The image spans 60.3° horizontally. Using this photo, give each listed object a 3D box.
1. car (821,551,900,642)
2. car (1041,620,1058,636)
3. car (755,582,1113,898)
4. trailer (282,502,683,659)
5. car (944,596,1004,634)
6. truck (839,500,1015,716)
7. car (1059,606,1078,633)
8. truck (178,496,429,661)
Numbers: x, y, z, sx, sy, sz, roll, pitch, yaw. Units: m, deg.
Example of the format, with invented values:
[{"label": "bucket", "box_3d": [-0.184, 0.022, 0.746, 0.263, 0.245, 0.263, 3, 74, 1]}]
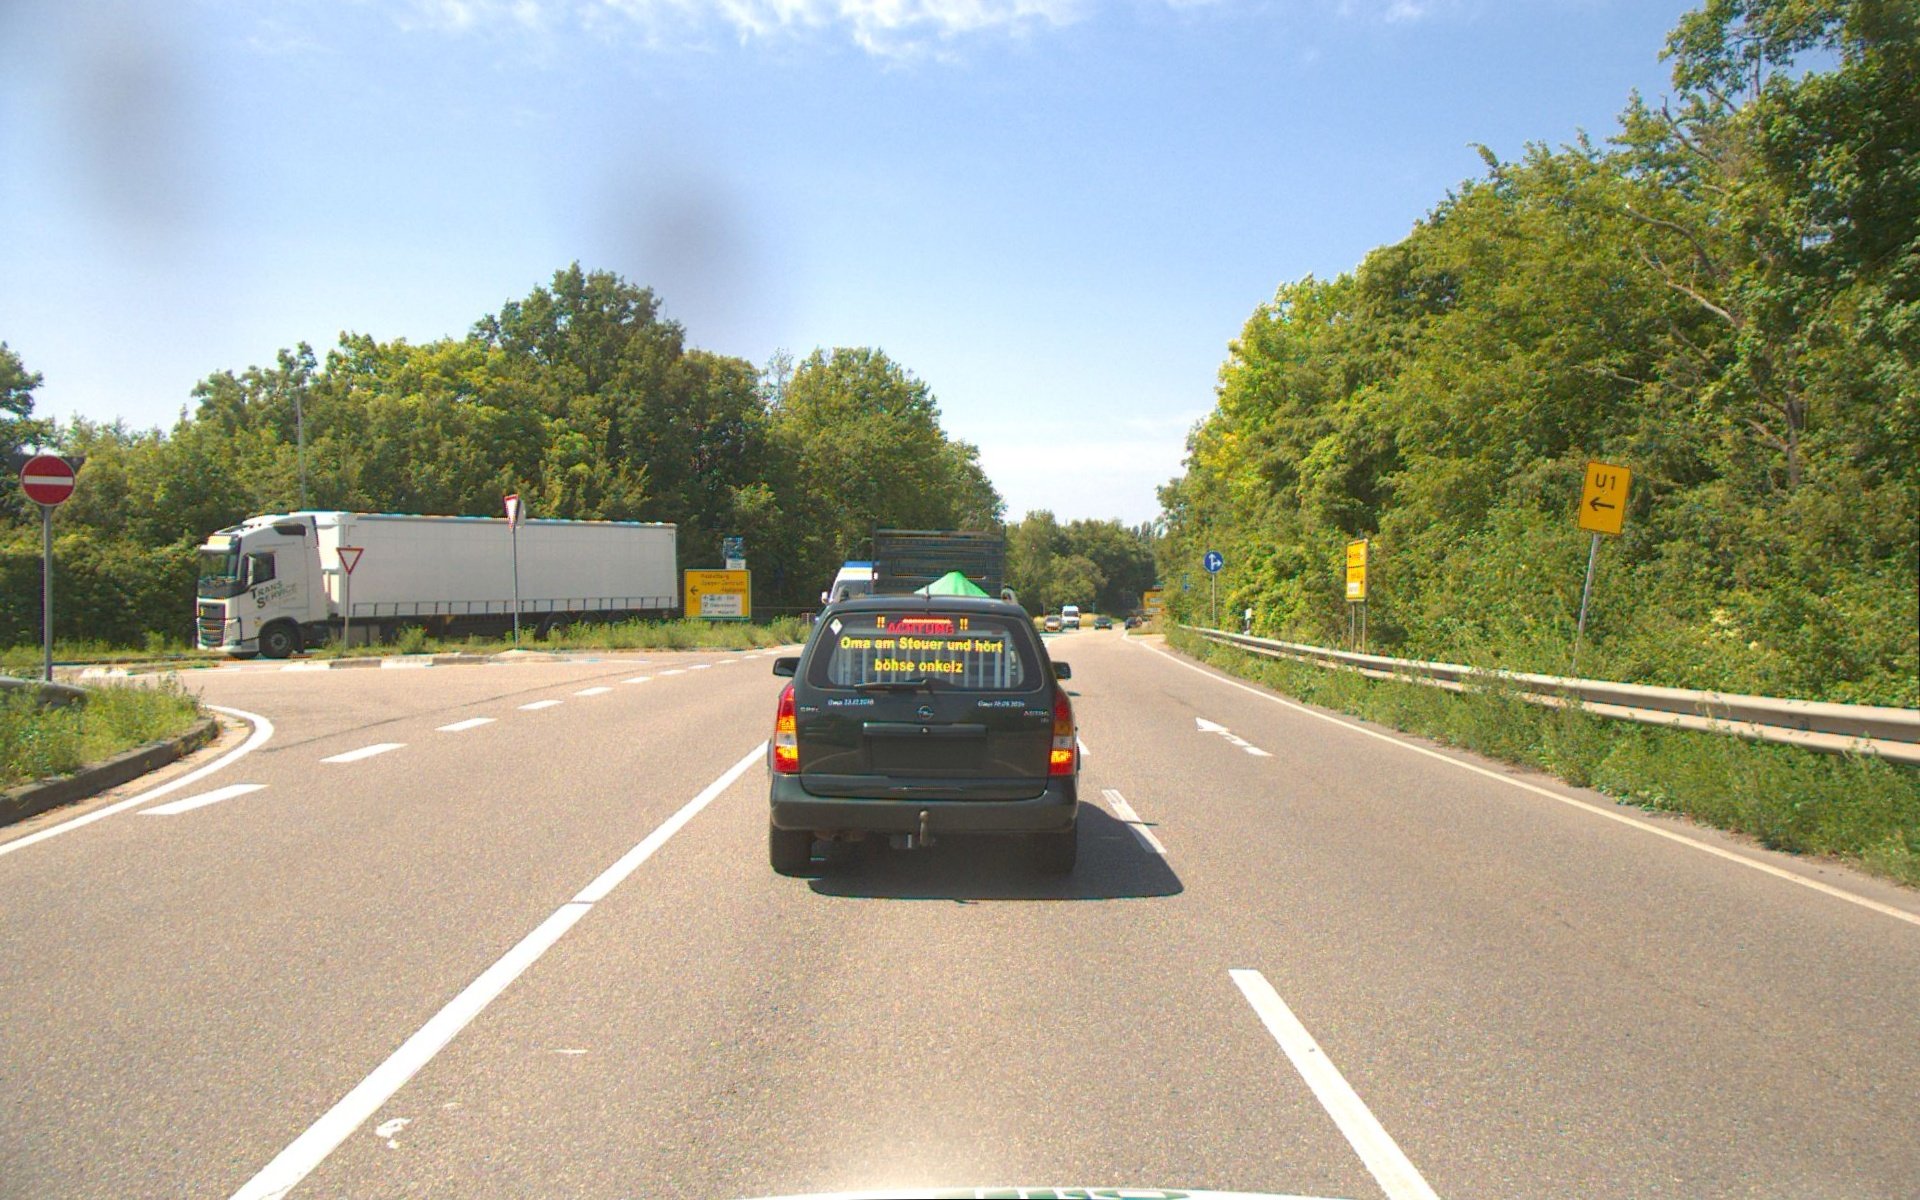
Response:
[{"label": "car", "box_3d": [-2.768, -0.126, 47.090, 1.950, 2.409, 5.181, 1, 0, -1]}, {"label": "car", "box_3d": [8.502, 2.690, 157.532, 1.610, 1.443, 3.767, 1, 0, 2]}, {"label": "car", "box_3d": [-0.118, 0.654, 9.799, 1.685, 1.482, 3.797, 1, 0, 0]}, {"label": "trailer", "box_3d": [-14.528, -0.619, 52.467, 2.935, 4.350, 13.755, 1, 1, 32]}, {"label": "car", "box_3d": [0.802, 0.782, 90.555, 1.967, 1.957, 5.198, 1, 0, 16]}, {"label": "truck", "box_3d": [-0.294, 0.087, 23.501, 2.094, 2.610, 6.641, 1, 0, 2]}, {"label": "car", "box_3d": [12.284, 2.186, 187.758, 2.061, 2.900, 6.014, 1, 0, 3]}, {"label": "truck", "box_3d": [-18.452, -0.602, 46.736, 2.943, 4.350, 5.898, 1, 1, 39]}]
